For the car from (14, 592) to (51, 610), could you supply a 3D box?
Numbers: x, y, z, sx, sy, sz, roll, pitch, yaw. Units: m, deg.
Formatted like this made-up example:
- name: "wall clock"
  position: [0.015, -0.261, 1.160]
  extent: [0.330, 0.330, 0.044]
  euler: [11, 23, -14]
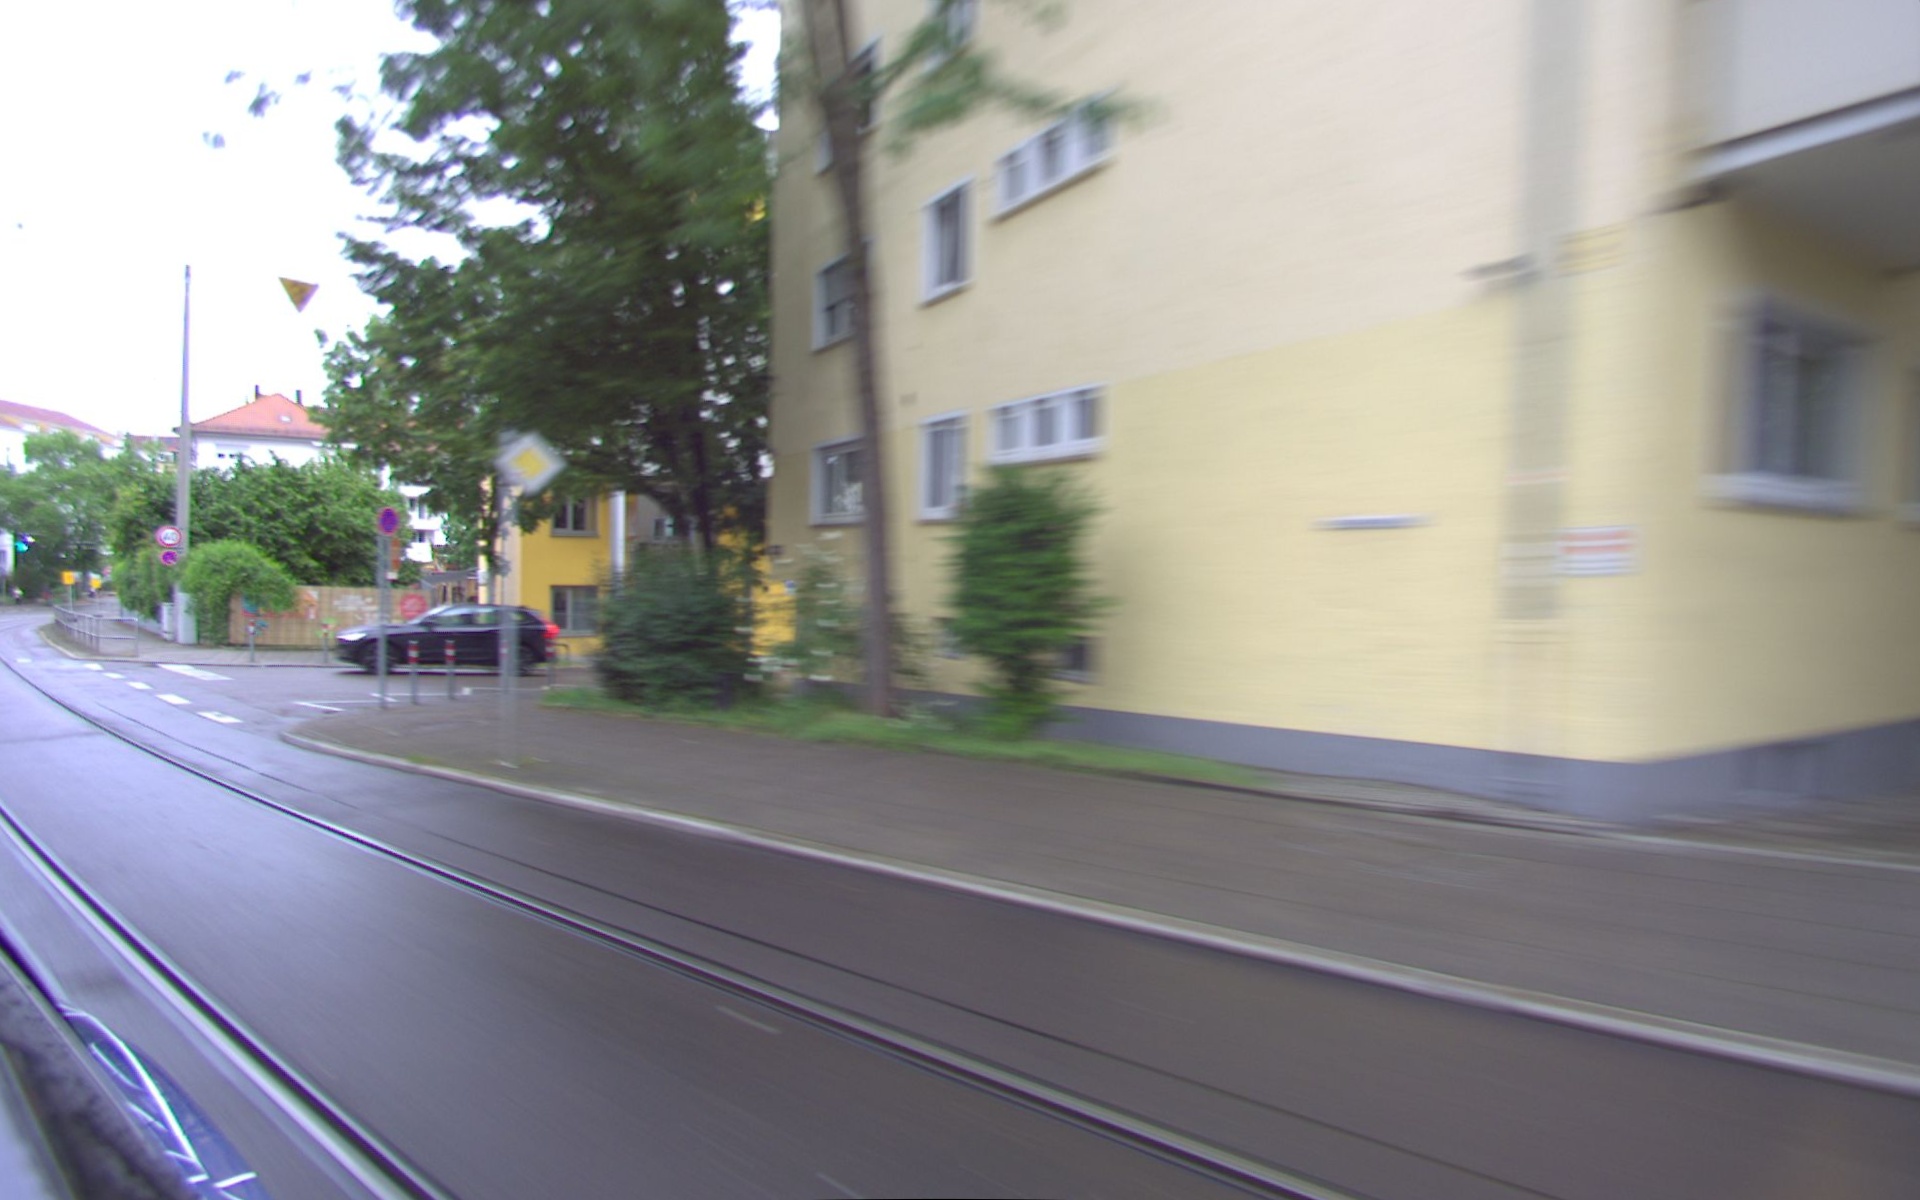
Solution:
- name: "car"
  position: [-86.610, 0.071, 94.544]
  extent: [1.769, 1.521, 4.012]
  euler: [0, 1, -31]

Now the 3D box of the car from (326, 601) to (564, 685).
- name: "car"
  position: [-11.959, 1.022, 23.676]
  extent: [4.689, 1.690, 2.077]
  euler: [4, -2, -29]

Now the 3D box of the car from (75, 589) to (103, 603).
- name: "car"
  position: [-98.146, -0.413, 114.030]
  extent: [1.769, 1.521, 4.012]
  euler: [0, 1, -31]
